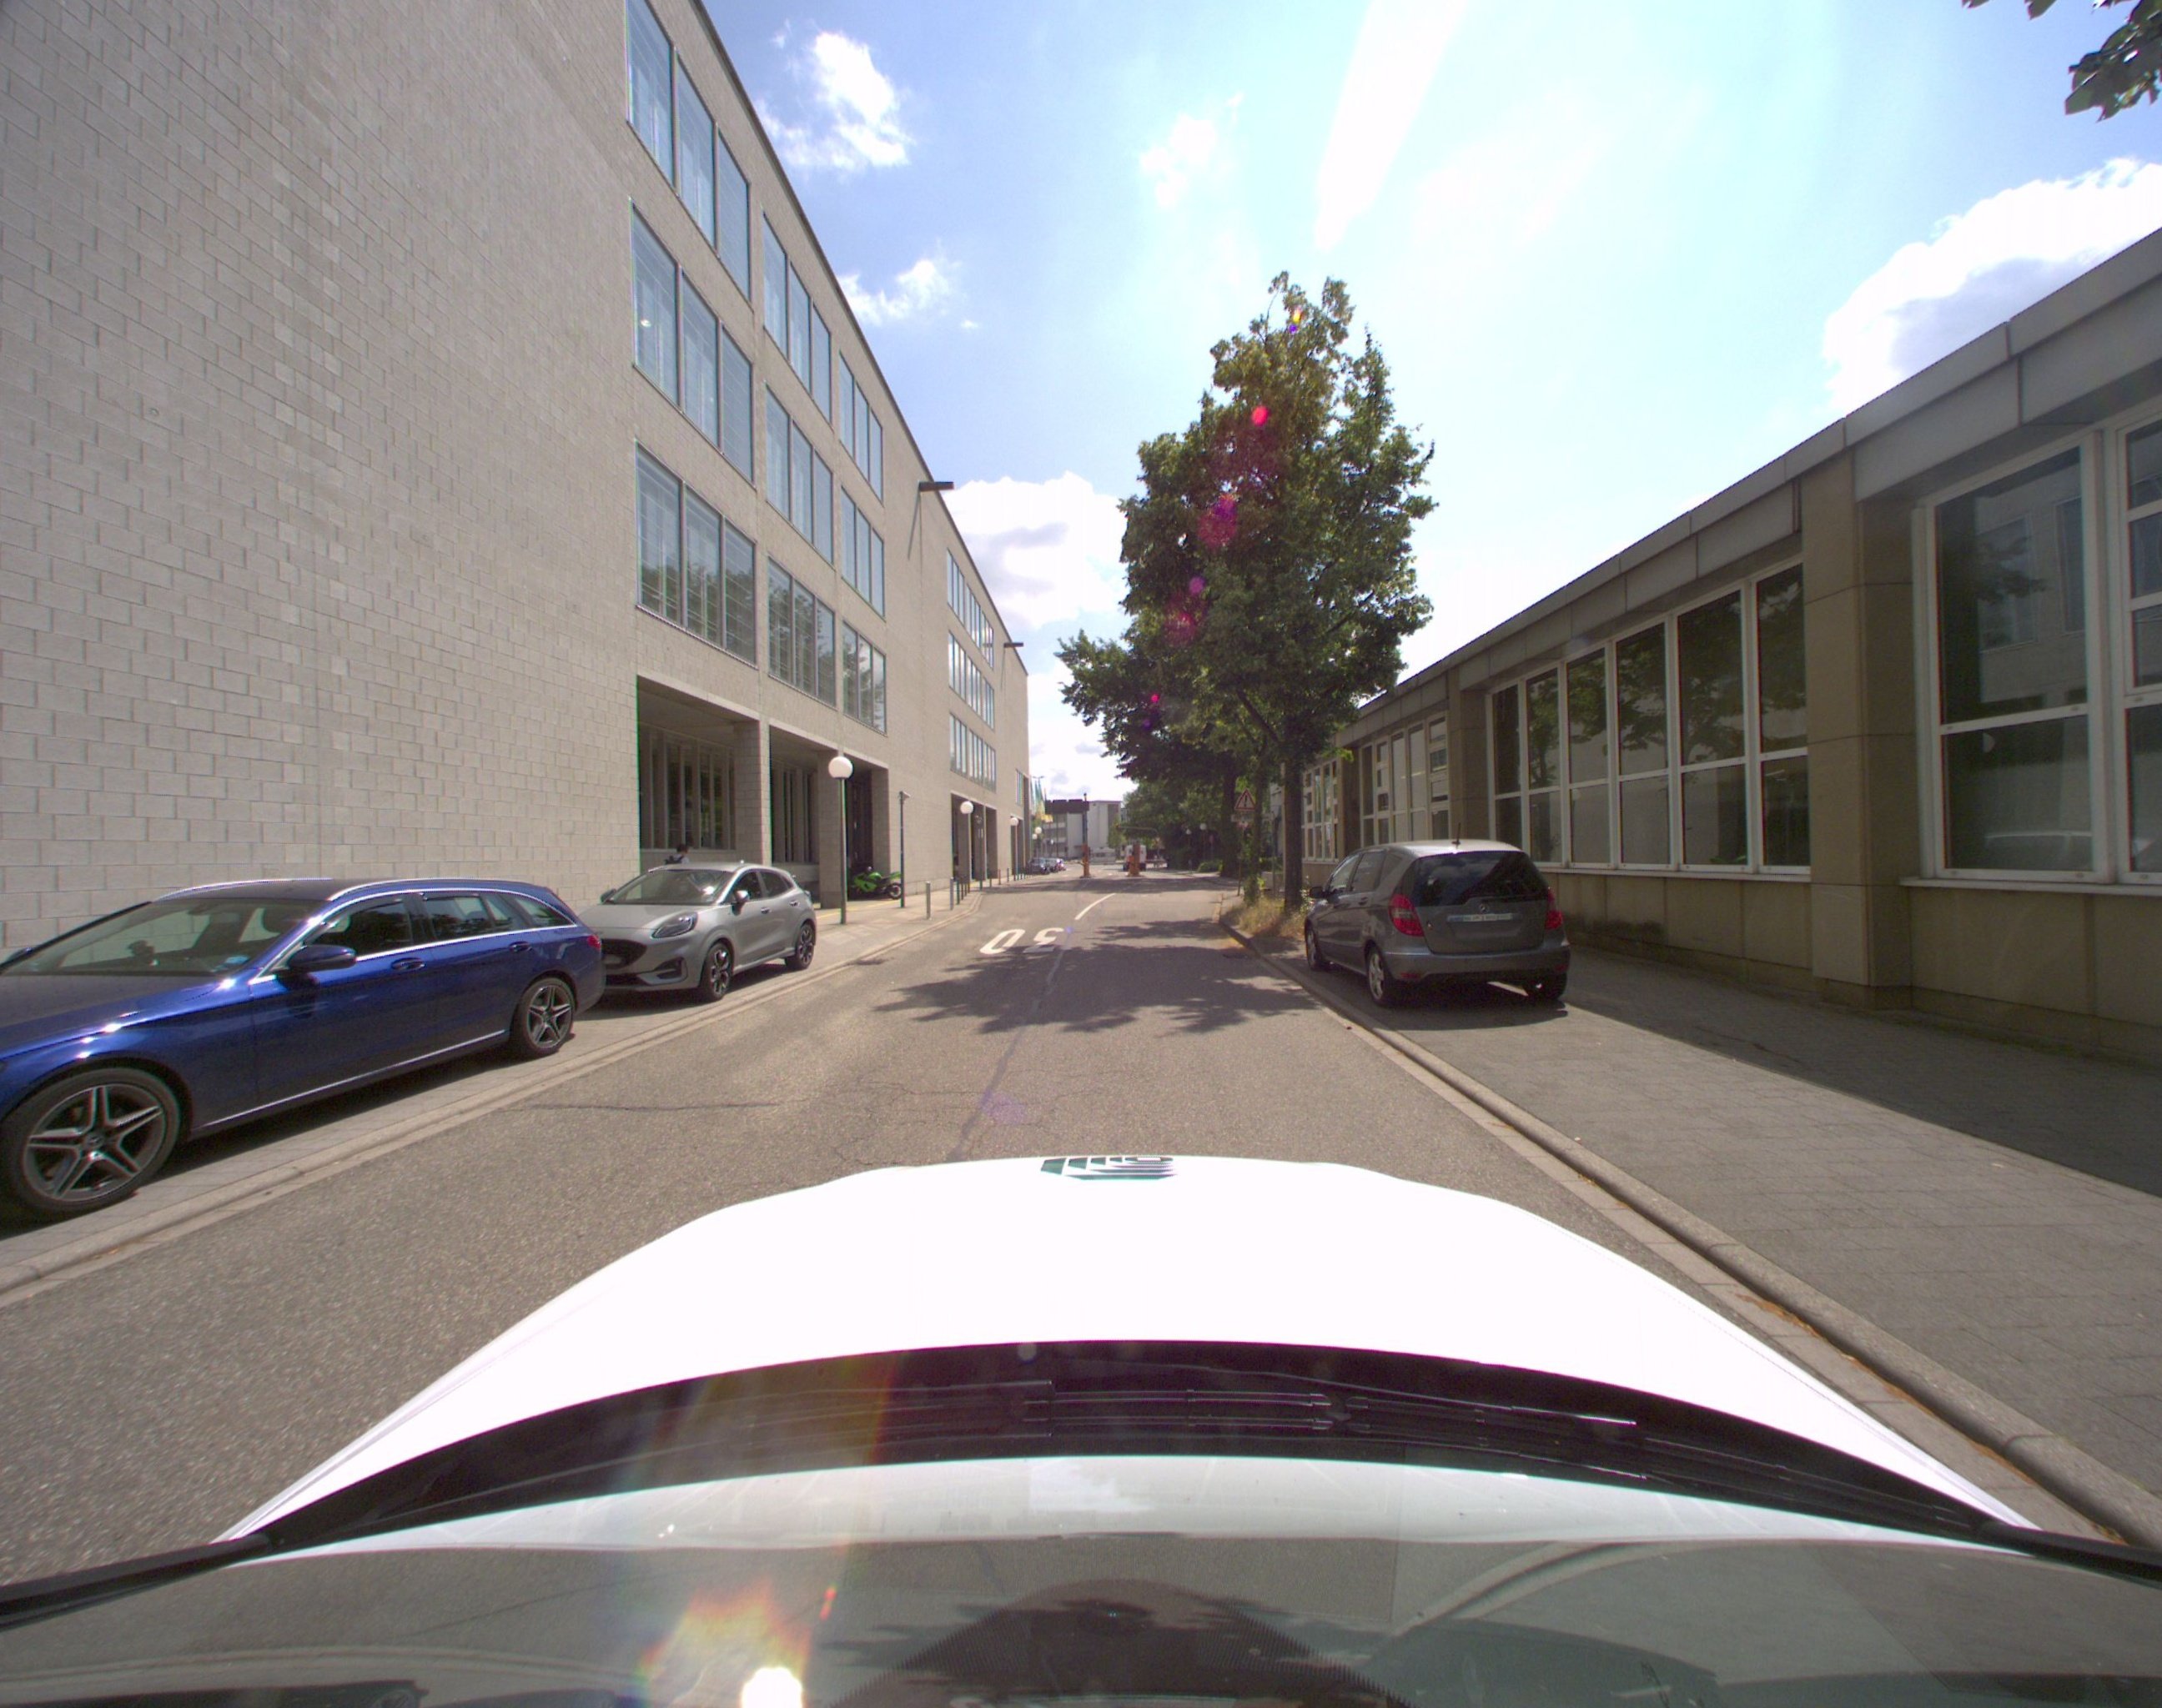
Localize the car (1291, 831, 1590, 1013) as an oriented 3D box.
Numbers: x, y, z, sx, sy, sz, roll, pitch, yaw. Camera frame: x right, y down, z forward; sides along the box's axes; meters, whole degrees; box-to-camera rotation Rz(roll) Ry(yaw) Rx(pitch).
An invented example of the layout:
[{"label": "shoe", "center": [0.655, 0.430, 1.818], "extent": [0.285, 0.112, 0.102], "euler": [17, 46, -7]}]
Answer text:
[{"label": "car", "center": [3.719, 0.612, 9.222], "extent": [1.749, 1.568, 3.819], "euler": [-2, 0, 2]}]

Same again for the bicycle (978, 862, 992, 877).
[{"label": "bicycle", "center": [-7.012, 1.151, 59.515], "extent": [0.828, 1.069, 2.469], "euler": [0, -1, -2]}]

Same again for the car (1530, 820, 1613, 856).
[{"label": "car", "center": [22.926, -0.711, 38.236], "extent": [1.621, 1.552, 3.622], "euler": [-1, 0, -2]}]

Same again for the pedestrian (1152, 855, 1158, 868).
[{"label": "pedestrian", "center": [10.096, 1.020, 110.556], "extent": [0.764, 1.859, 0.722], "euler": [-1, 0, 4]}]

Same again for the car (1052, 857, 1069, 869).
[{"label": "car", "center": [-2.451, 1.092, 98.343], "extent": [1.670, 1.395, 4.666], "euler": [1, 0, 3]}]

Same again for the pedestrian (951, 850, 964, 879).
[{"label": "pedestrian", "center": [-8.025, 0.678, 52.880], "extent": [0.728, 1.880, 0.720], "euler": [0, -1, 2]}]

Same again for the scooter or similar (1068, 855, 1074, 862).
[{"label": "scooter or similar", "center": [-1.733, 0.846, 143.696], "extent": [0.716, 1.178, 2.717], "euler": [-1, 0, -8]}]

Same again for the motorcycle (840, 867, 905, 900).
[{"label": "motorcycle", "center": [-7.443, 1.034, 29.097], "extent": [2.164, 1.138, 0.773], "euler": [0, -1, -8]}]

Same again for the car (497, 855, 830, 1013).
[{"label": "car", "center": [-4.824, 0.819, 10.281], "extent": [1.719, 1.535, 4.408], "euler": [1, -1, 3]}]

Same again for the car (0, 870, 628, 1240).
[{"label": "car", "center": [-5.137, 0.860, 5.182], "extent": [1.719, 1.423, 4.668], "euler": [-1, 0, 3]}]

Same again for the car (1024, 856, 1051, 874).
[{"label": "car", "center": [-3.719, 0.934, 70.138], "extent": [1.852, 1.467, 4.721], "euler": [1, 0, 2]}]

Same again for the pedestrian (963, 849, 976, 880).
[{"label": "pedestrian", "center": [-7.230, 0.684, 52.878], "extent": [0.696, 2.014, 0.830], "euler": [0, -1, 2]}]

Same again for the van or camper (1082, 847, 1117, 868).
[{"label": "van or camper", "center": [3.097, 0.586, 137.262], "extent": [5.693, 3.259, 2.355], "euler": [-2, -1, -1]}]

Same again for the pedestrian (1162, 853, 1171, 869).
[{"label": "pedestrian", "center": [8.956, 0.724, 85.165], "extent": [0.737, 1.674, 1.256], "euler": [-1, 0, -1]}]

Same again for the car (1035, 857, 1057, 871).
[{"label": "car", "center": [-3.524, 0.959, 82.417], "extent": [1.853, 1.378, 5.017], "euler": [1, 0, 1]}]

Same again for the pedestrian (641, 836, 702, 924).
[{"label": "pedestrian", "center": [-8.866, 0.552, 17.655], "extent": [0.774, 1.838, 1.014], "euler": [-1, 0, 1]}]

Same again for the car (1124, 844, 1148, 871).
[{"label": "car", "center": [5.449, 0.350, 81.248], "extent": [2.087, 2.566, 5.604], "euler": [-2, 0, 2]}]
